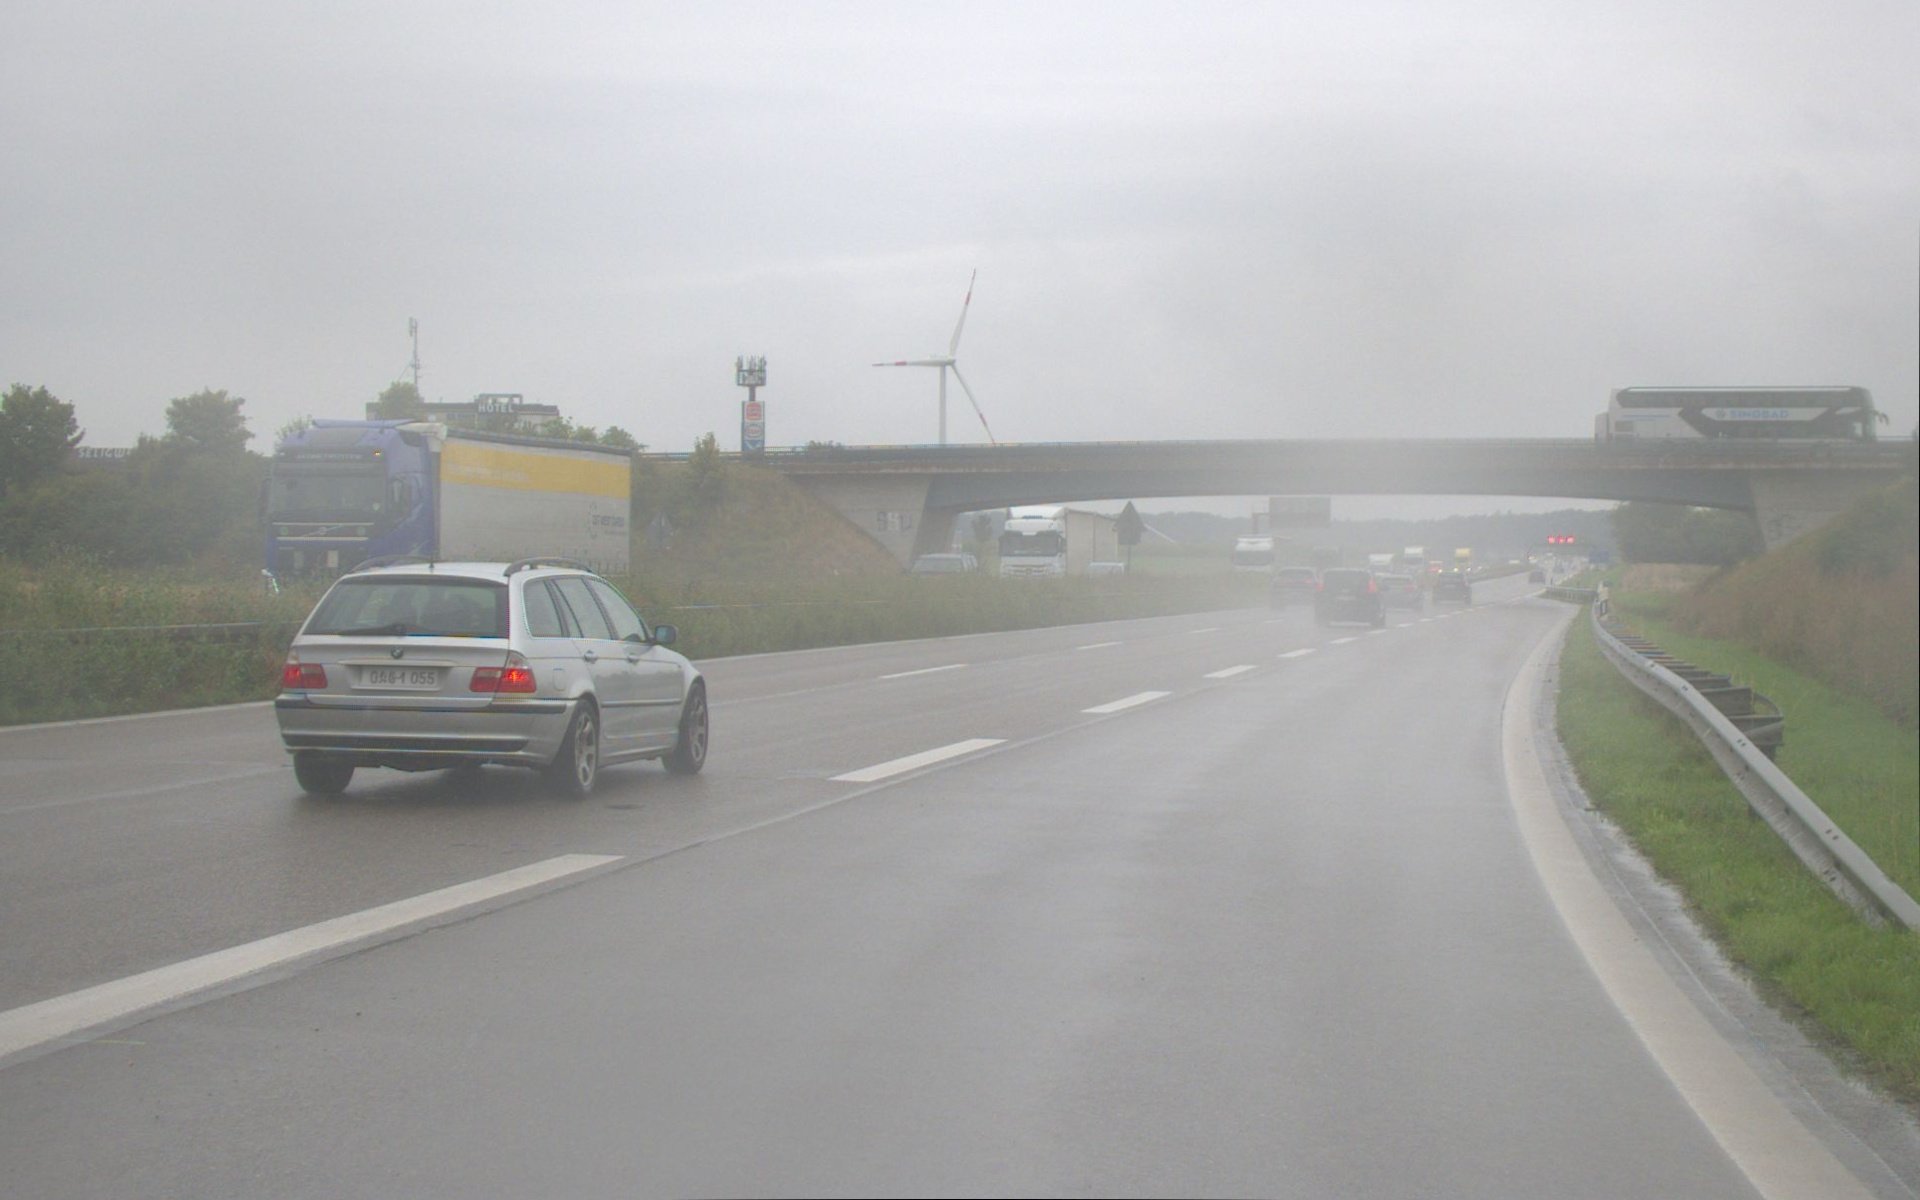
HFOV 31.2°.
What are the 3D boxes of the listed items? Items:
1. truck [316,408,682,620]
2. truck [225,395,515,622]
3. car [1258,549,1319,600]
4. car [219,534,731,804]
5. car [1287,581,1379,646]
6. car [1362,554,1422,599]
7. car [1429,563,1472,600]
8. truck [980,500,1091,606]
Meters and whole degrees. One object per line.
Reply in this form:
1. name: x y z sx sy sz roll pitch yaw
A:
1. truck: -9.601 -1.729 74.426 3.196 3.953 15.311 3 1 10
2. truck: -11.138 -1.681 65.590 3.196 3.953 6.660 3 1 10
3. car: 12.553 -0.983 131.260 1.994 1.744 3.999 -1 2 9
4. car: -2.891 0.378 21.665 1.875 1.483 4.794 1 0 9
5. car: 10.171 0.372 93.431 2.146 1.630 4.593 2 0 10
6. car: 16.652 -0.884 132.417 2.054 1.630 4.347 2 0 10
7. car: 24.578 -0.945 172.243 1.994 1.691 3.999 -1 2 10
8. truck: 3.322 -1.997 148.156 3.230 4.370 10.509 1 0 10
